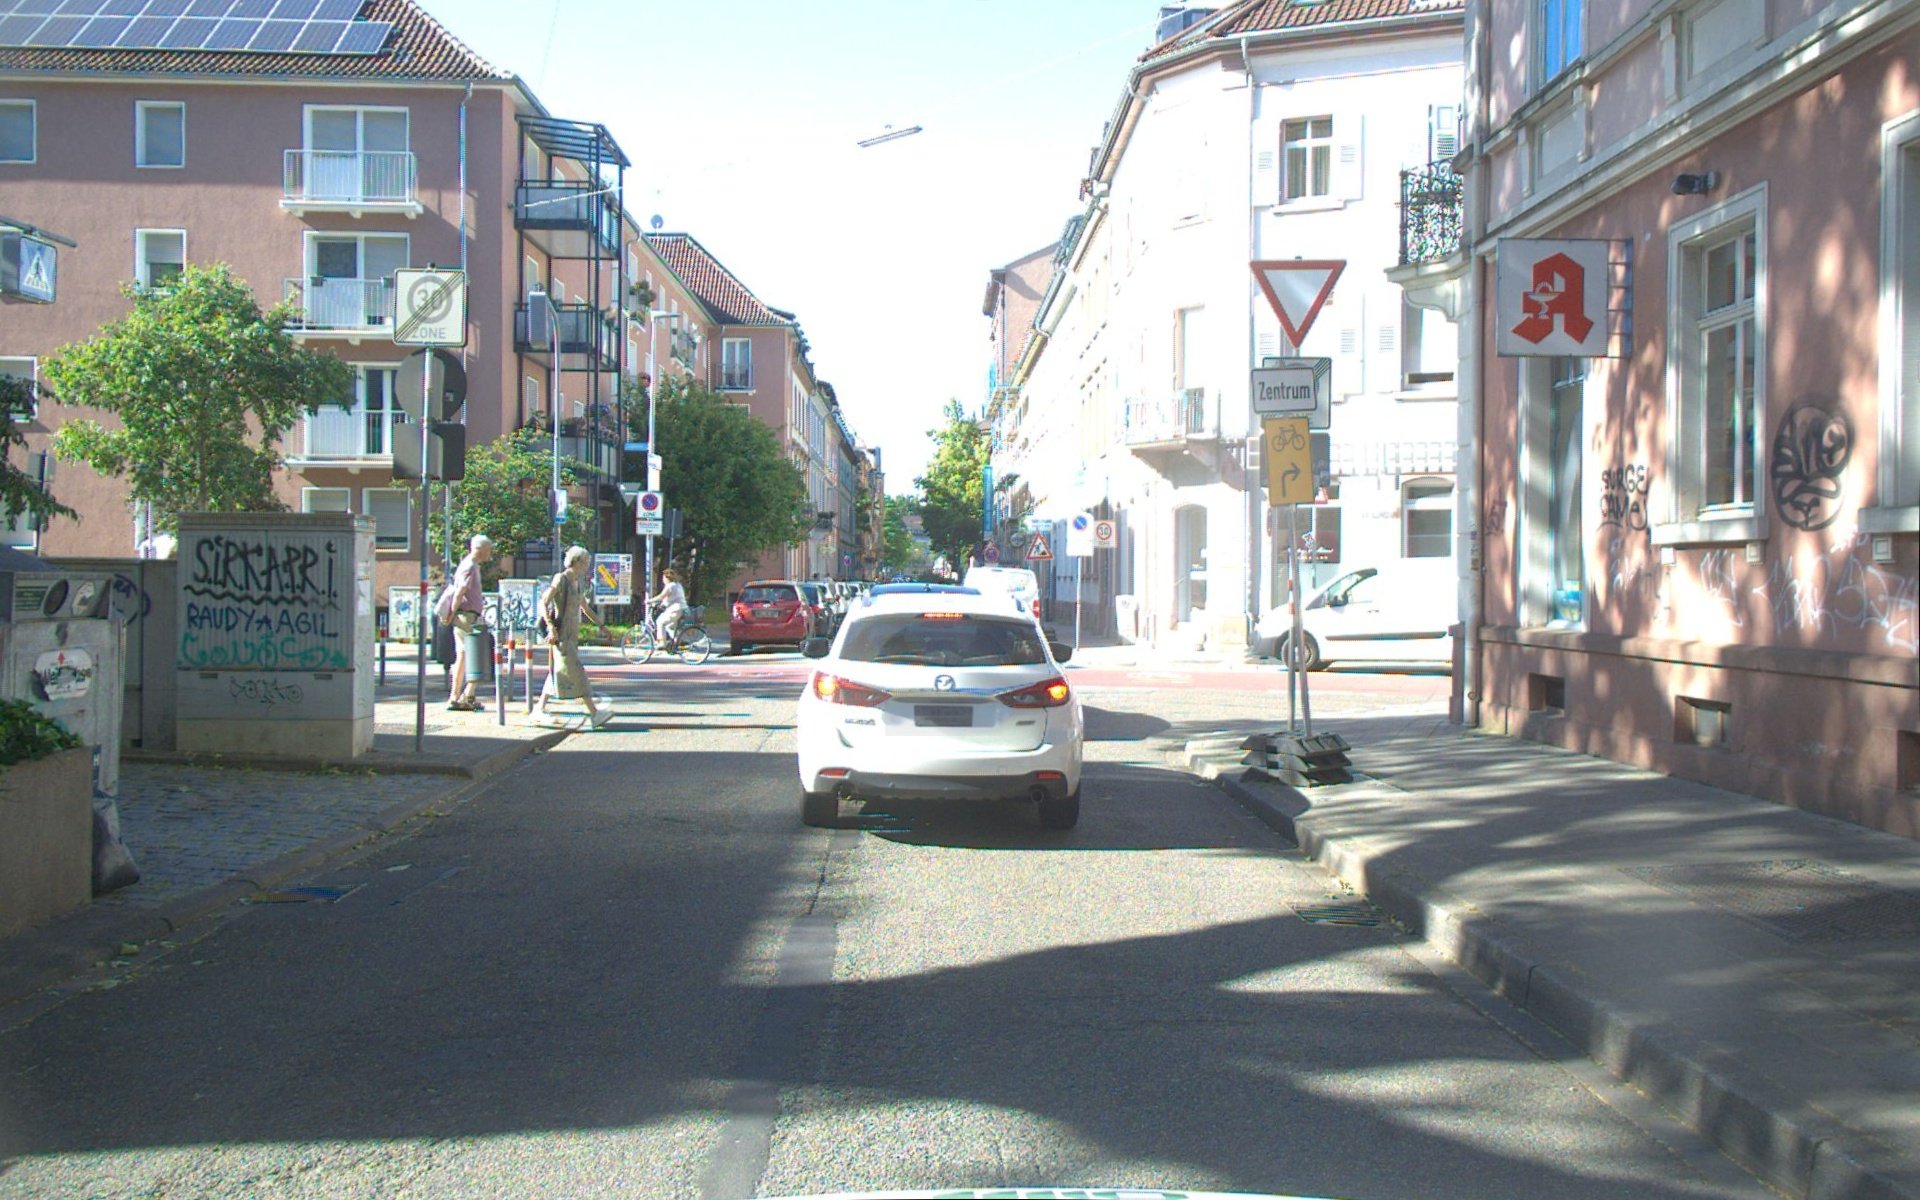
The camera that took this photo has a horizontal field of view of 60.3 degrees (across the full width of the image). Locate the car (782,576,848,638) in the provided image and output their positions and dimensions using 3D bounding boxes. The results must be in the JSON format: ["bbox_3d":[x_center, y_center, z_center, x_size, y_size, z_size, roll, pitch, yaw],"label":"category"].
[{"bbox_3d":[-4.102,0.194,47.244,1.602,1.685,3.784,0,0,-1],"label":"car"}]

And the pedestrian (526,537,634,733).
[{"bbox_3d":[-3.756,0.326,16.406,0.836,1.846,0.814,3,2,-3],"label":"pedestrian"}]

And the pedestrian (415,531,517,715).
[{"bbox_3d":[-5.185,0.233,17.401,0.951,1.870,0.679,2,1,-16],"label":"pedestrian"}]

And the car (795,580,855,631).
[{"bbox_3d":[-4.369,0.165,54.024,1.685,1.604,3.725,0,0,-1],"label":"car"}]

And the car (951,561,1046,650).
[{"bbox_3d":[0.859,0.107,39.476,1.904,1.982,4.075,1,0,-4],"label":"car"}]

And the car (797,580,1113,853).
[{"bbox_3d":[-0.087,0.652,11.349,1.787,1.540,3.822,1,0,-2],"label":"car"}]

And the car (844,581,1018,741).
[{"bbox_3d":[-0.337,0.560,17.489,1.648,1.507,3.659,0,0,-2],"label":"car"}]

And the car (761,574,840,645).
[{"bbox_3d":[-3.977,0.220,41.733,1.685,1.712,3.725,0,0,-1],"label":"car"}]

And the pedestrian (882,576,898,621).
[{"bbox_3d":[-2.862,-0.046,67.471,0.634,1.828,0.639,0,0,-1],"label":"pedestrian"}]

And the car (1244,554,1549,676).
[{"bbox_3d":[7.473,0.244,28.324,4.791,1.962,1.999,1,-2,23],"label":"car"}]

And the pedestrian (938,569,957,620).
[{"bbox_3d":[-0.524,-0.228,69.434,0.755,2.155,0.834,0,0,-1],"label":"pedestrian"}]

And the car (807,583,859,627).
[{"bbox_3d":[-4.420,0.172,58.036,1.569,1.503,3.567,0,0,-1],"label":"car"}]

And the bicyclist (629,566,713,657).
[{"bbox_3d":[-4.979,0.193,28.500,1.170,1.543,0.841,0,0,17],"label":"bicyclist"}]

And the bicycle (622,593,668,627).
[{"bbox_3d":[-9.024,0.271,47.291,0.598,0.948,1.892,0,0,-34],"label":"bicycle"}]

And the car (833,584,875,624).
[{"bbox_3d":[-4.356,0.168,68.347,1.540,1.613,3.610,0,0,-1],"label":"car"}]

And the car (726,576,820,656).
[{"bbox_3d":[-4.039,0.304,36.132,1.734,1.616,3.725,0,1,-2],"label":"car"}]

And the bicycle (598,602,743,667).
[{"bbox_3d":[-4.992,0.581,28.530,2.373,1.098,0.791,0,0,16],"label":"bicycle"}]
